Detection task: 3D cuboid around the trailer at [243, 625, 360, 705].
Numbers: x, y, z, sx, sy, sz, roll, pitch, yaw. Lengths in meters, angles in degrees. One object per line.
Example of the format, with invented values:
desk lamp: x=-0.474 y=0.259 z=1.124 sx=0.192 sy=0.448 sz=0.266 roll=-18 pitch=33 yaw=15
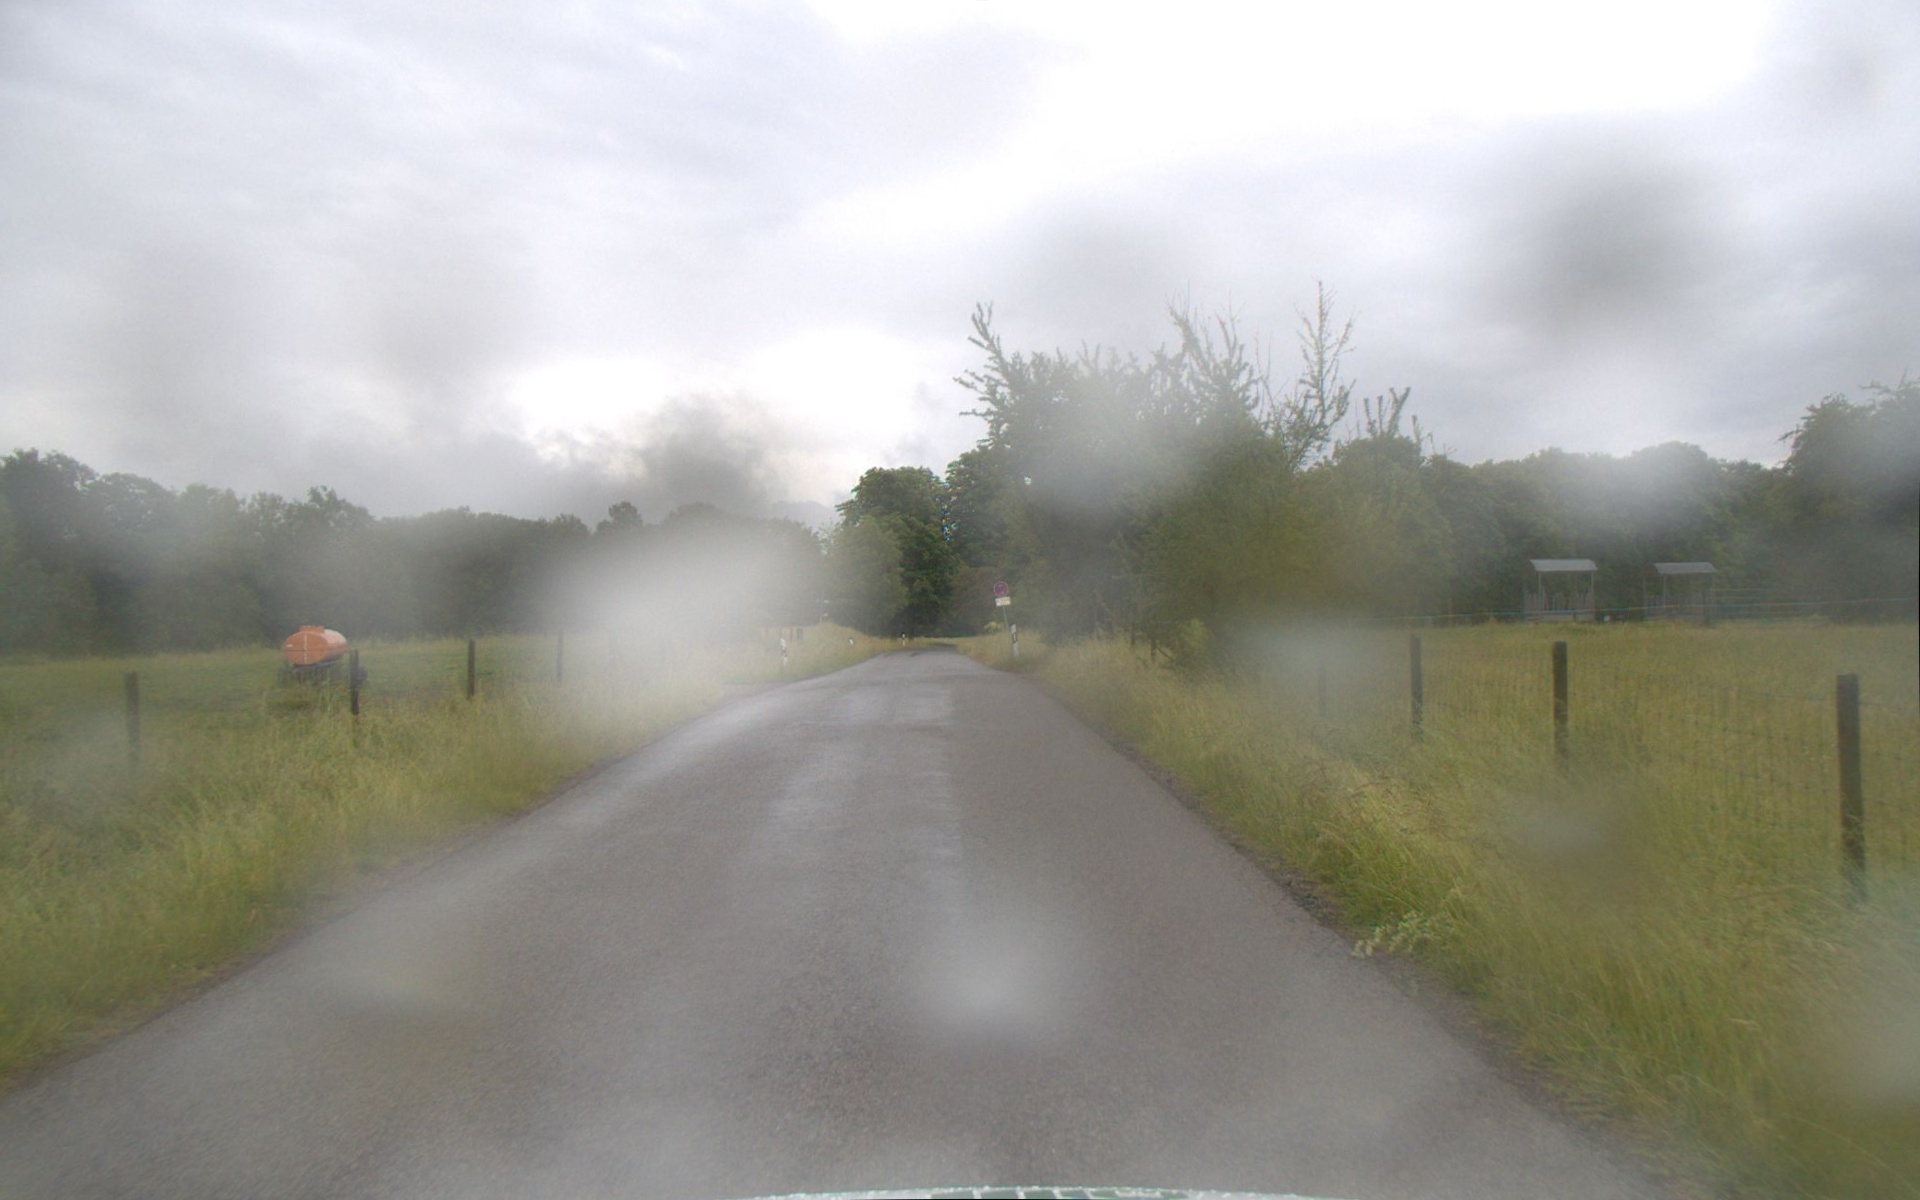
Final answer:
trailer: x=-13.908 y=1.340 z=35.092 sx=1.720 sy=1.531 sz=3.081 roll=-2 pitch=0 yaw=-11
